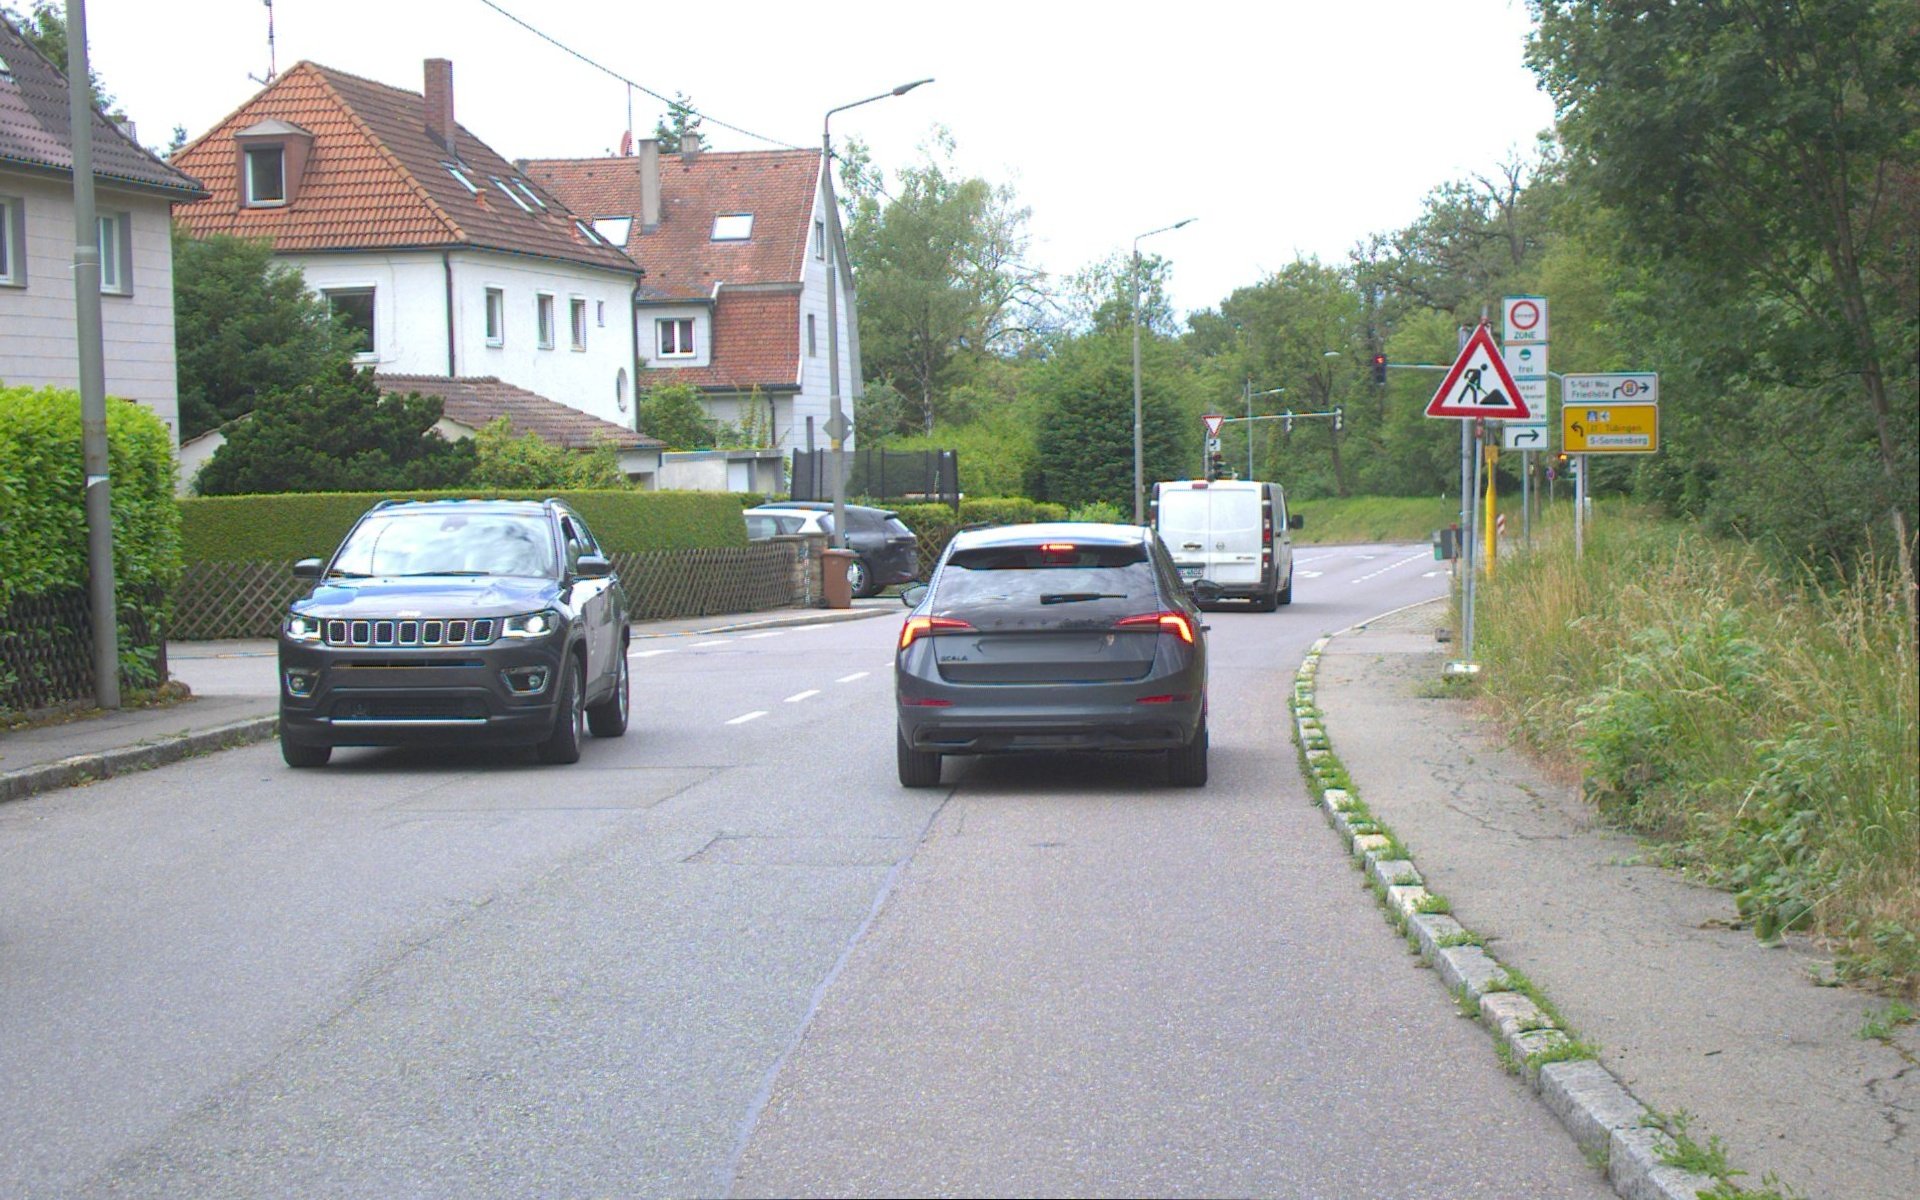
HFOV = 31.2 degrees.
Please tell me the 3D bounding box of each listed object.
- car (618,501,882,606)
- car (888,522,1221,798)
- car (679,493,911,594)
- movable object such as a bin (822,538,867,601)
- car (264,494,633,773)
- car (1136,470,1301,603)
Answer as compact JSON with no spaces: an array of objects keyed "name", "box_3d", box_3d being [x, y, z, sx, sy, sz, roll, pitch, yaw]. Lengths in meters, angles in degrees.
[{"name":"car","box_3d":[-3.439,-0.784,56.789,3.988,1.612,2.000,-1,1,8]},{"name":"car","box_3d":[0.458,0.269,20.400,1.728,1.434,4.324,-1,1,-1]},{"name":"car","box_3d":[-2.928,-1.029,61.650,3.987,1.700,1.917,-1,1,2]},{"name":"movable object such as a bin","box_3d":[-1.791,-0.472,53.216,0.599,0.947,0.579,-1,1,6]},{"name":"car","box_3d":[-3.199,0.131,22.281,1.833,1.591,4.324,-1,2,-1]},{"name":"car","box_3d":[4.000,-0.985,52.516,2.072,1.915,4.921,0,1,9]}]
